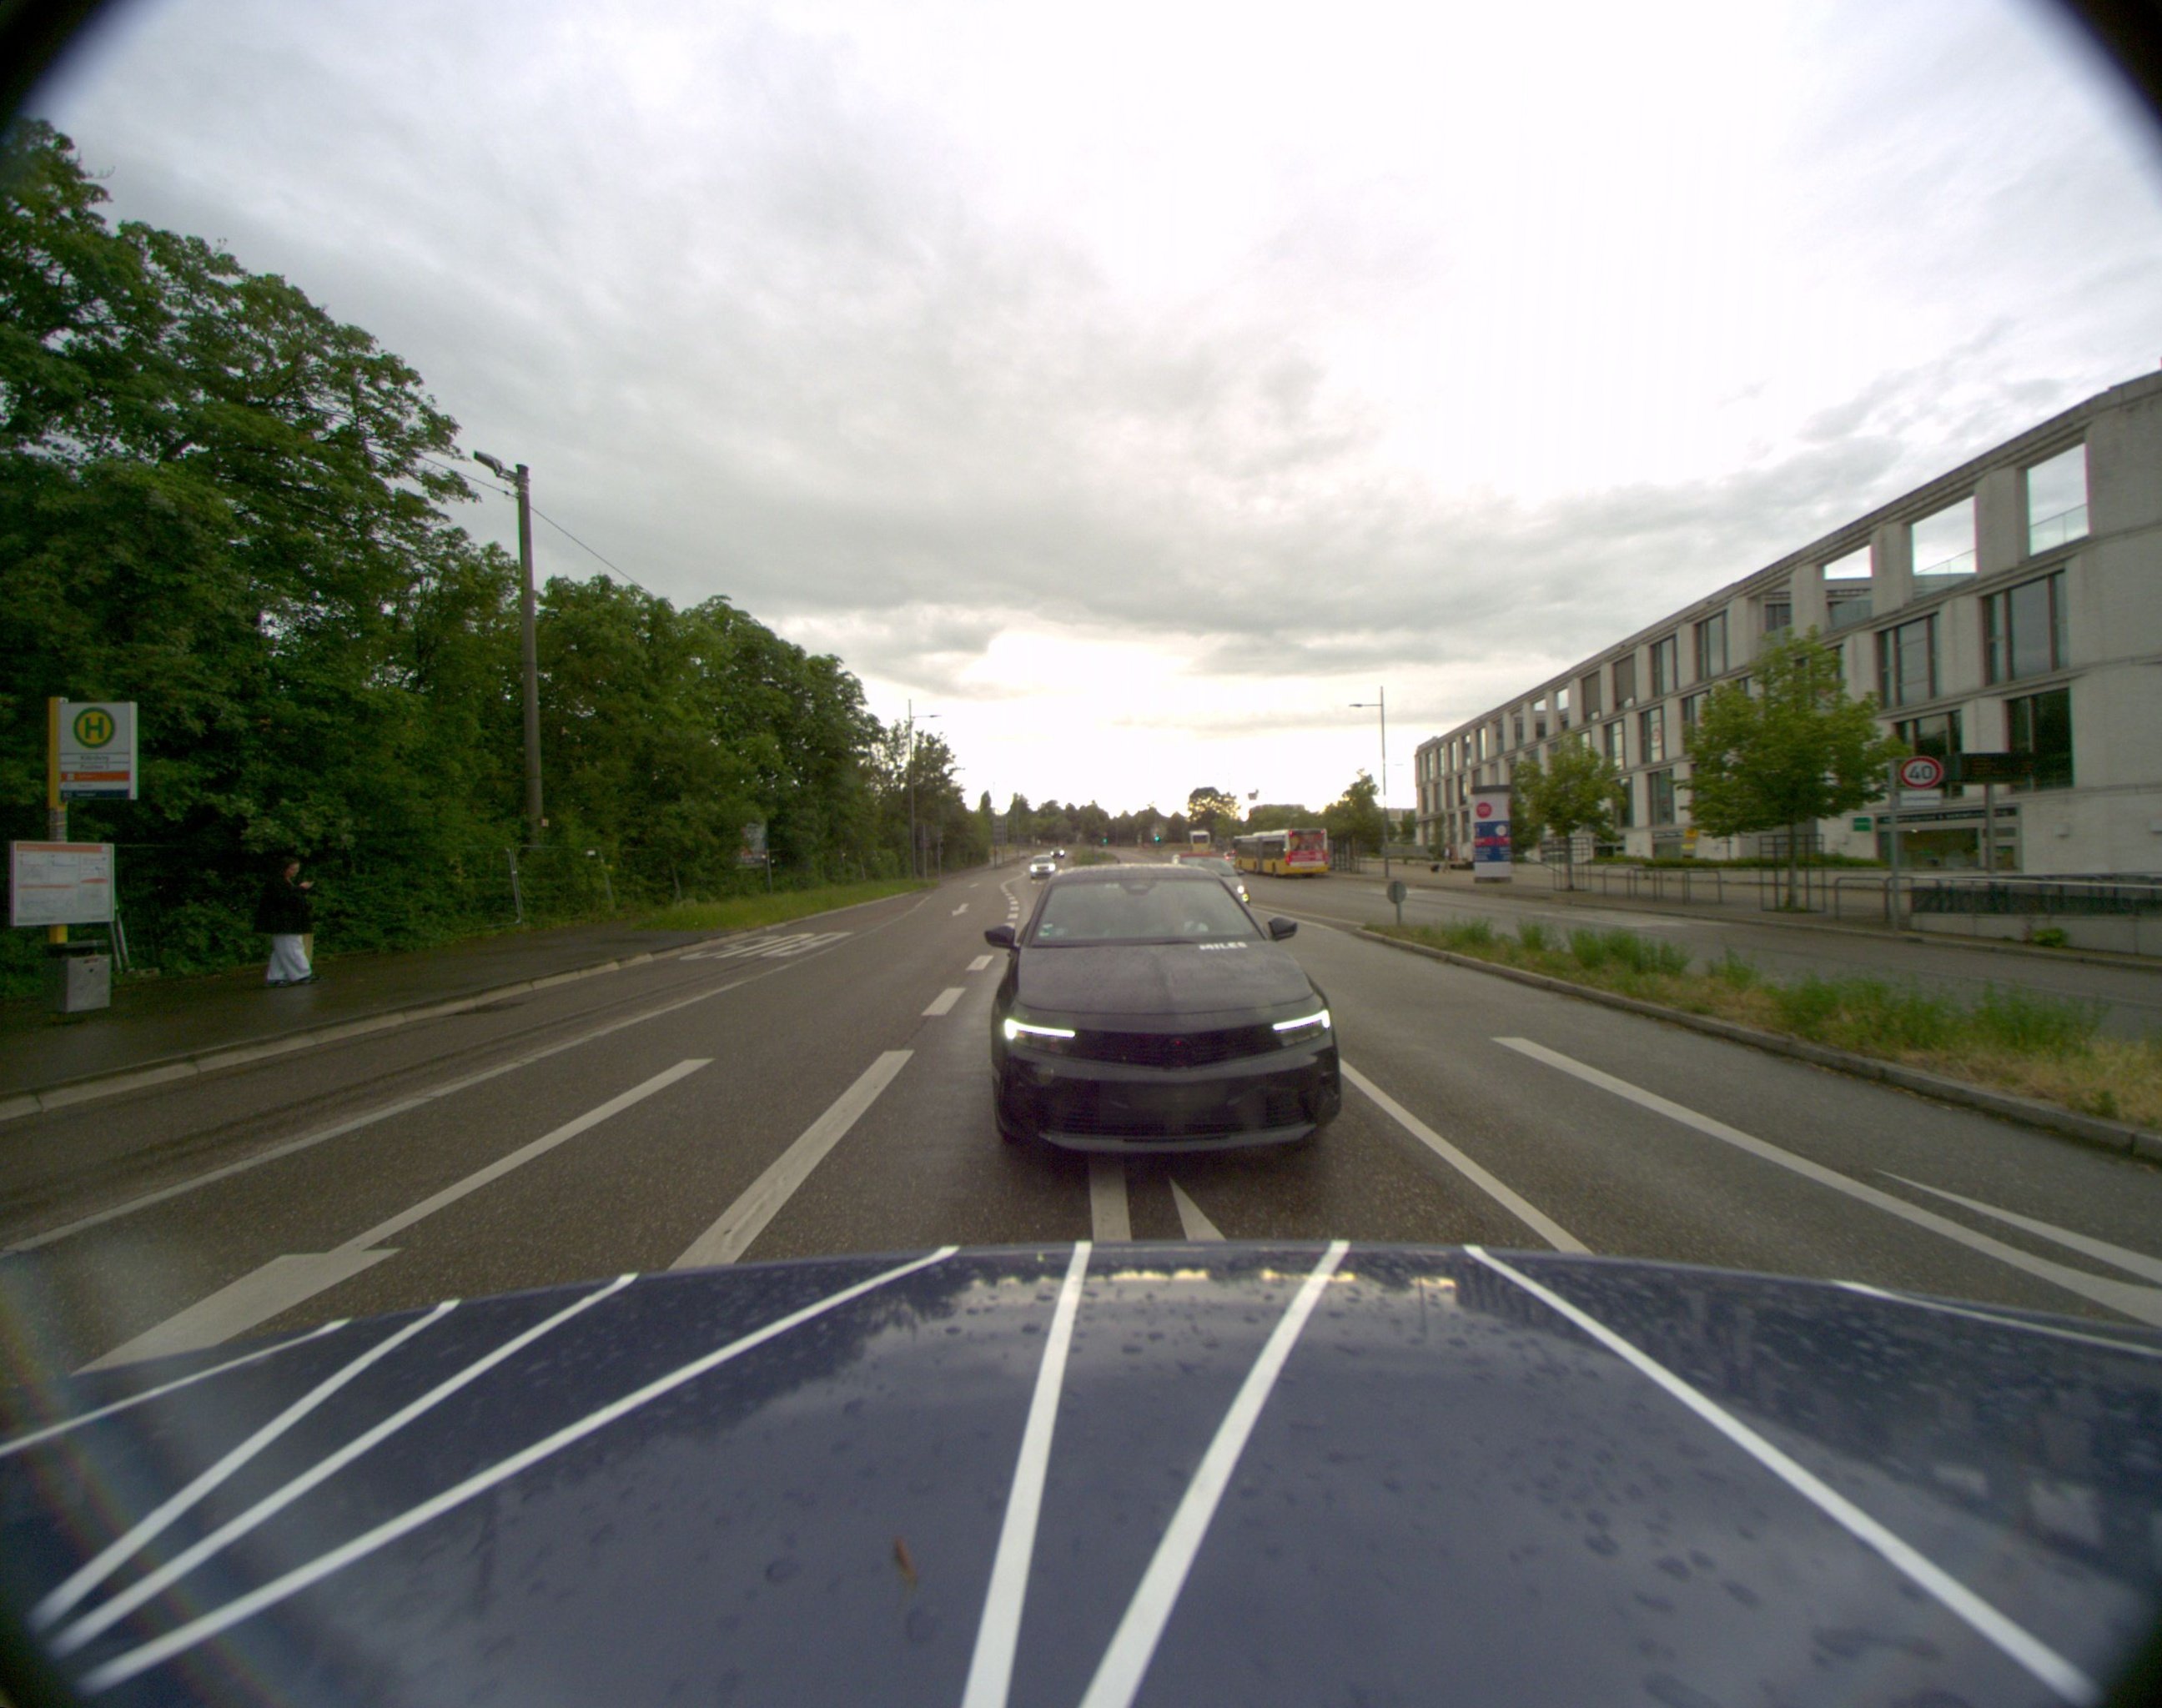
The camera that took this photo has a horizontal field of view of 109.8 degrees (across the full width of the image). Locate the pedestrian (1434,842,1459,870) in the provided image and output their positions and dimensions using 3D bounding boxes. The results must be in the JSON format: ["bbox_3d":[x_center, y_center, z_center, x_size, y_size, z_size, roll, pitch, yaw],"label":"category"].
[{"bbox_3d":[20.740,0.100,43.150,0.866,1.572,0.983,-2,1,-8],"label":"pedestrian"}]

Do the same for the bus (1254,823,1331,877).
[{"bbox_3d":[13.817,-0.310,50.522,2.759,3.194,9.207,-2,1,2],"label":"bus"}]

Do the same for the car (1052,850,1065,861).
[{"bbox_3d":[-3.574,0.210,118.932,1.934,1.649,4.617,-1,0,-2],"label":"car"}]

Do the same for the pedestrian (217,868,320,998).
[{"bbox_3d":[-10.641,1.011,9.977,0.588,1.618,0.661,-1,1,1],"label":"pedestrian"}]

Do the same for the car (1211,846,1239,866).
[{"bbox_3d":[13.576,0.160,71.724,1.867,1.777,3.999,-2,1,1],"label":"car"}]

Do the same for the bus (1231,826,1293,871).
[{"bbox_3d":[14.107,-0.450,60.027,2.693,3.163,9.912,-2,1,2],"label":"bus"}]

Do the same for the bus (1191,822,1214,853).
[{"bbox_3d":[18.444,-2.425,114.300,2.757,4.129,19.359,-2,1,11],"label":"bus"}]

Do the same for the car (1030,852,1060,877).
[{"bbox_3d":[-2.452,0.665,52.202,1.901,1.524,4.766,-2,1,-2],"label":"car"}]

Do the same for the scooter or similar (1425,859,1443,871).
[{"bbox_3d":[20.390,0.631,43.886,0.641,0.648,0.833,-1,1,-2],"label":"scooter or similar"}]

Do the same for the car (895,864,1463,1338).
[{"bbox_3d":[0.370,0.890,4.996,1.901,1.456,4.767,-2,1,1],"label":"car"}]

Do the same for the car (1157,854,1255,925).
[{"bbox_3d":[2.876,0.770,18.206,1.631,1.473,3.505,-1,1,-2],"label":"car"}]
